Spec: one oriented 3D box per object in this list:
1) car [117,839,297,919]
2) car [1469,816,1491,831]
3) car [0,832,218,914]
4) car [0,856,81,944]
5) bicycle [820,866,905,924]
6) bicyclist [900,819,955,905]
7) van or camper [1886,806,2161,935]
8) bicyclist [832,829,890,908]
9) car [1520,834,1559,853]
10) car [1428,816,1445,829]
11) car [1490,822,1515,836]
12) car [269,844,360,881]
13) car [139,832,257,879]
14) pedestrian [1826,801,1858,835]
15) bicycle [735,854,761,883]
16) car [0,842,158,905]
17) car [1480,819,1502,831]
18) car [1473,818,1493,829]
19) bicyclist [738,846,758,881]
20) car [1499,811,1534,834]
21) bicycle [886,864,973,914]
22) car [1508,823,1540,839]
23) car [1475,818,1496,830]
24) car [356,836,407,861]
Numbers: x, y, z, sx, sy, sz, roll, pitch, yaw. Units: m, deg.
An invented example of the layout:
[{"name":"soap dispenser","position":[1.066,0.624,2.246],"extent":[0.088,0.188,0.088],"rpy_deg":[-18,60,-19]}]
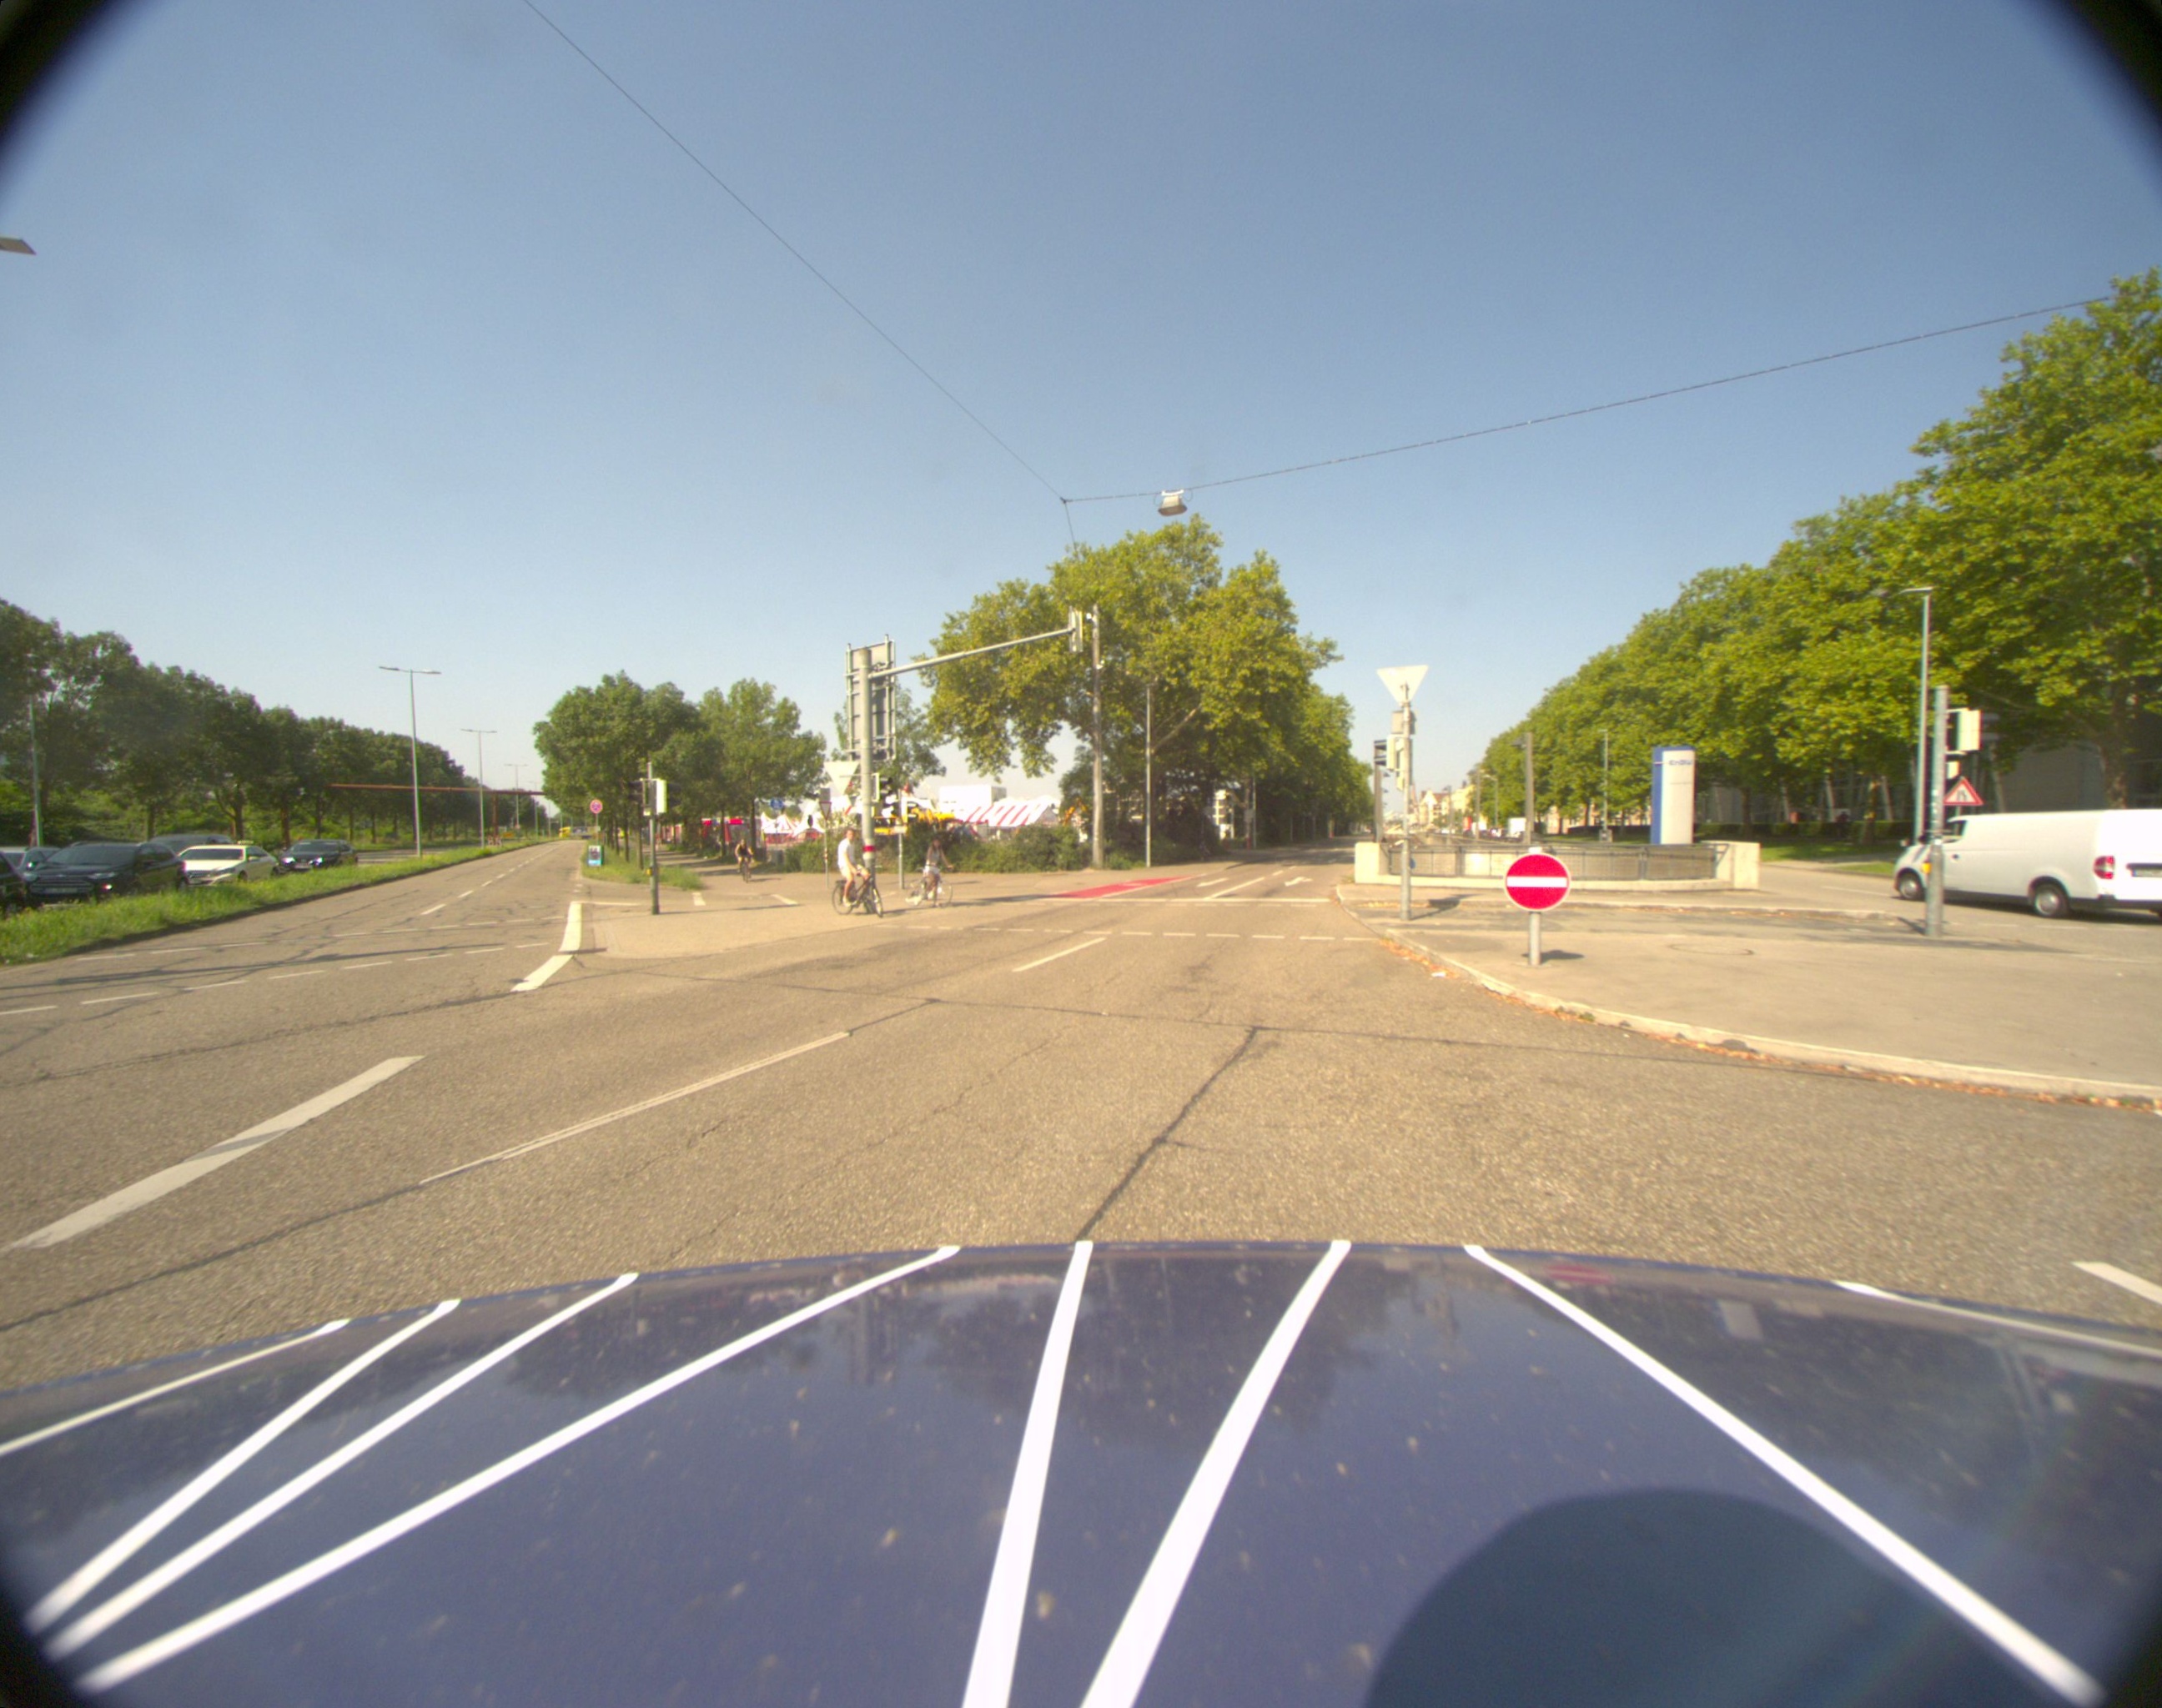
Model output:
[{"name":"car","position":[-28.622,0.751,25.180],"extent":[2.252,2.249,5.211],"rpy_deg":[-4,2,-31]},{"name":"car","position":[59.739,-4.574,113.821],"extent":[2.288,2.068,4.661],"rpy_deg":[-2,2,21]},{"name":"car","position":[-24.555,0.438,19.116],"extent":[2.149,1.731,5.211],"rpy_deg":[-4,2,-31]},{"name":"car","position":[-20.277,0.890,13.010],"extent":[1.909,1.604,5.183],"rpy_deg":[-4,2,-31]},{"name":"bicycle","position":[-4.786,0.858,16.549],"extent":[0.774,1.082,2.213],"rpy_deg":[-5,4,-45]},{"name":"bicyclist","position":[-3.714,0.182,18.376],"extent":[1.201,2.002,0.599],"rpy_deg":[-1,3,41]},{"name":"van or camper","position":[17.987,0.131,14.213],"extent":[1.843,1.937,4.951],"rpy_deg":[-1,4,19]},{"name":"bicyclist","position":[-4.697,0.303,16.191],"extent":[0.599,1.585,1.201],"rpy_deg":[-5,3,-44]},{"name":"car","position":[33.519,-0.778,55.663],"extent":[1.658,1.214,3.898],"rpy_deg":[-2,2,19]},{"name":"car","position":[60.596,-5.398,129.422],"extent":[1.996,2.002,4.003],"rpy_deg":[-2,2,16]},{"name":"car","position":[48.688,-2.937,87.850],"extent":[1.996,1.445,4.004],"rpy_deg":[-2,2,21]},{"name":"car","position":[-31.965,0.324,31.803],"extent":[1.659,1.390,3.746],"rpy_deg":[-4,2,-30]},{"name":"car","position":[-34.468,0.033,29.783],"extent":[1.659,1.655,3.746],"rpy_deg":[-4,2,-28]},{"name":"pedestrian","position":[46.755,-2.227,46.697],"extent":[0.947,2.002,1.350],"rpy_deg":[-2,2,23]},{"name":"bicycle","position":[-13.254,0.565,30.287],"extent":[0.573,1.050,1.492],"rpy_deg":[-3,2,-11]},{"name":"car","position":[-29.301,0.543,21.656],"extent":[2.169,1.600,4.963],"rpy_deg":[-4,2,-31]},{"name":"car","position":[53.206,-3.792,98.684],"extent":[1.996,1.445,4.004],"rpy_deg":[-2,2,21]},{"name":"car","position":[57.443,-4.332,108.747],"extent":[1.996,1.445,4.004],"rpy_deg":[-2,2,21]},{"name":"bicyclist","position":[-13.267,0.364,30.319],"extent":[0.503,1.357,0.696],"rpy_deg":[-3,2,-10]},{"name":"car","position":[44.842,-3.231,78.320],"extent":[2.288,2.220,4.661],"rpy_deg":[-2,2,21]},{"name":"bicycle","position":[-3.712,0.810,18.480],"extent":[2.256,1.081,0.774],"rpy_deg":[0,4,40]},{"name":"car","position":[42.983,-2.257,73.746],"extent":[1.996,1.445,4.004],"rpy_deg":[-2,2,21]},{"name":"car","position":[54.763,-4.035,102.946],"extent":[1.996,1.445,4.004],"rpy_deg":[-2,2,21]},{"name":"car","position":[-46.216,-0.352,50.279],"extent":[1.805,1.548,3.990],"rpy_deg":[-4,2,-34]}]
